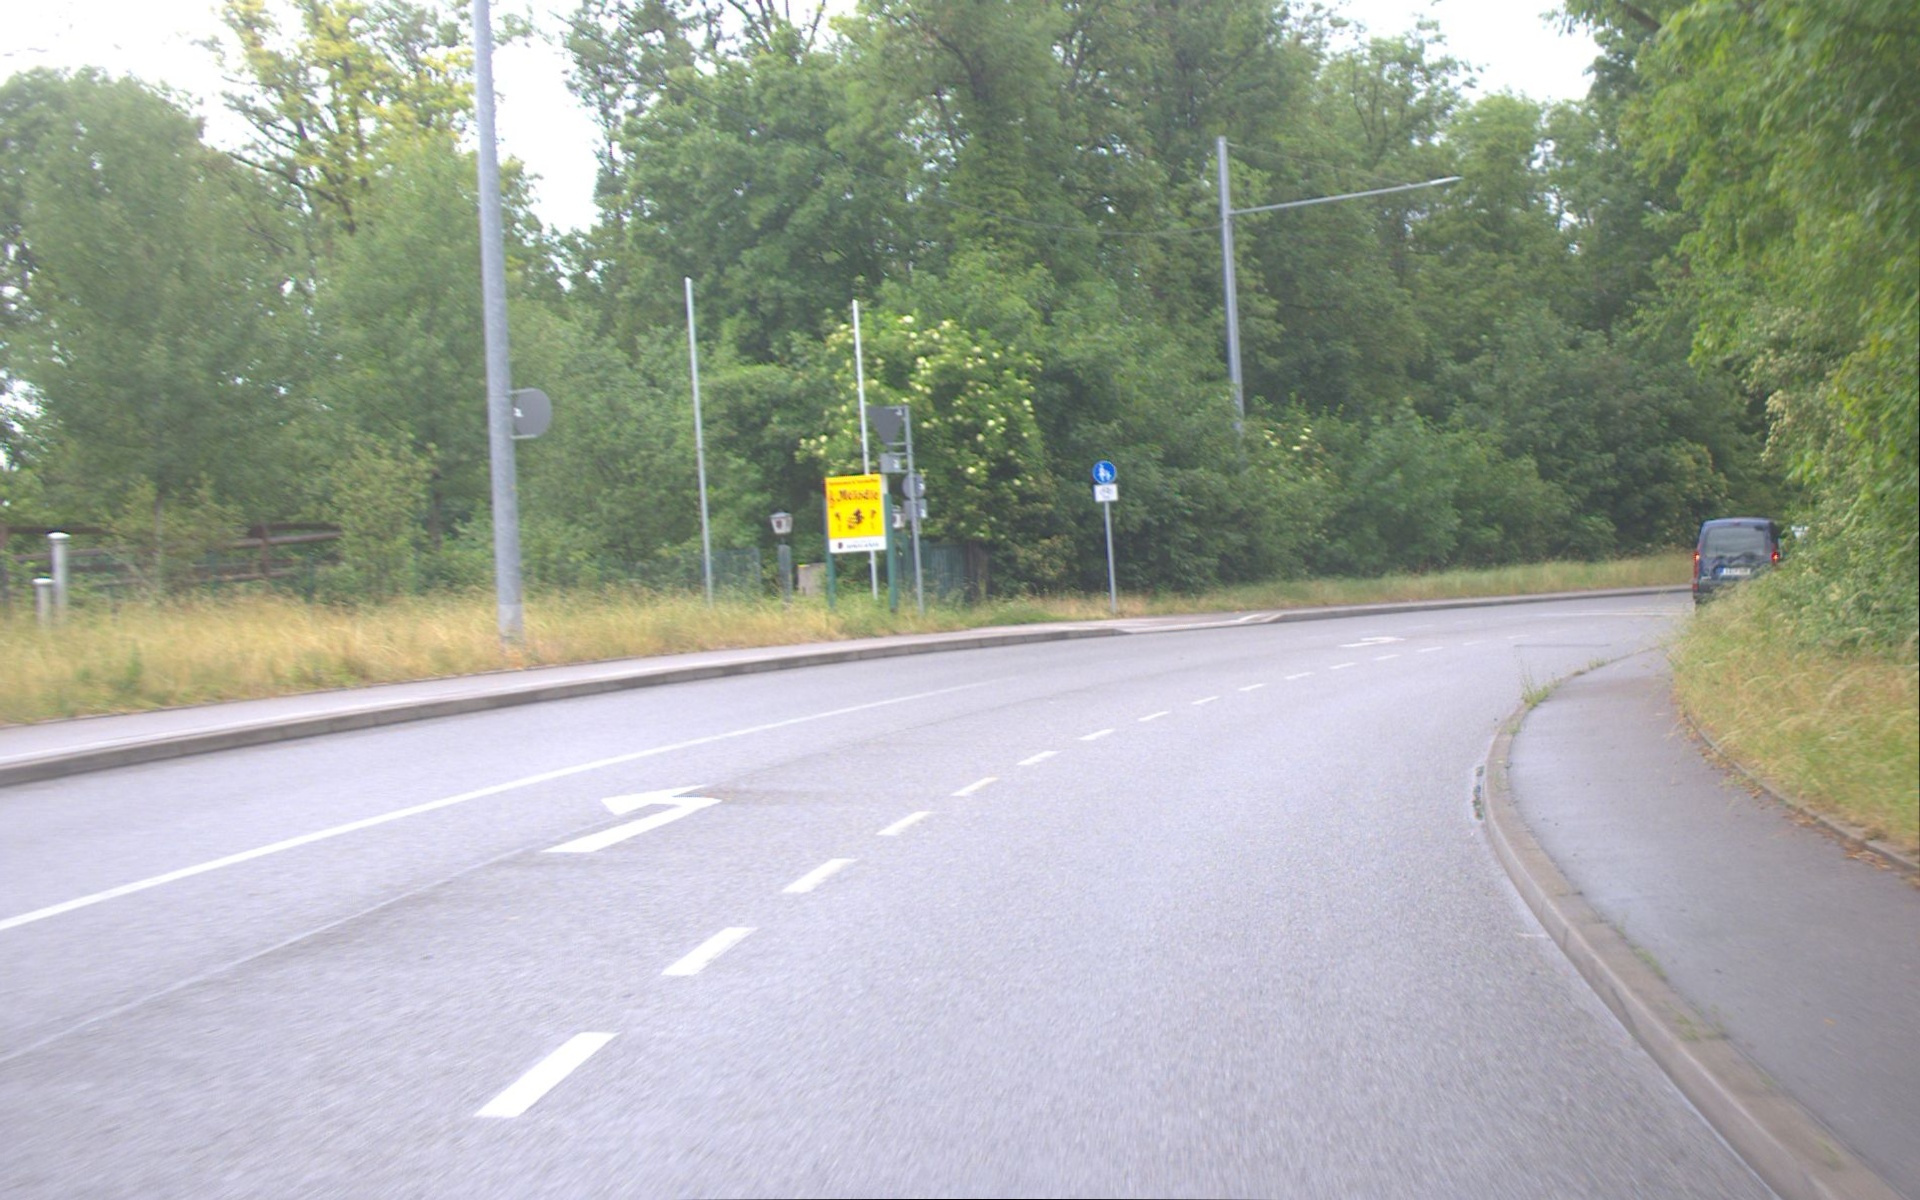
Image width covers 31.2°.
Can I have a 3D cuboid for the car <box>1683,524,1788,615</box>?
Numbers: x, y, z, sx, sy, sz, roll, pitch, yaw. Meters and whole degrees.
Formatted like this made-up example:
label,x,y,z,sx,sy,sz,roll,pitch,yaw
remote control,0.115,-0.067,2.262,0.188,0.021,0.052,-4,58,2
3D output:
label,x,y,z,sx,sy,sz,roll,pitch,yaw
car,14.084,-0.558,62.302,1.669,1.588,3.680,0,1,16
